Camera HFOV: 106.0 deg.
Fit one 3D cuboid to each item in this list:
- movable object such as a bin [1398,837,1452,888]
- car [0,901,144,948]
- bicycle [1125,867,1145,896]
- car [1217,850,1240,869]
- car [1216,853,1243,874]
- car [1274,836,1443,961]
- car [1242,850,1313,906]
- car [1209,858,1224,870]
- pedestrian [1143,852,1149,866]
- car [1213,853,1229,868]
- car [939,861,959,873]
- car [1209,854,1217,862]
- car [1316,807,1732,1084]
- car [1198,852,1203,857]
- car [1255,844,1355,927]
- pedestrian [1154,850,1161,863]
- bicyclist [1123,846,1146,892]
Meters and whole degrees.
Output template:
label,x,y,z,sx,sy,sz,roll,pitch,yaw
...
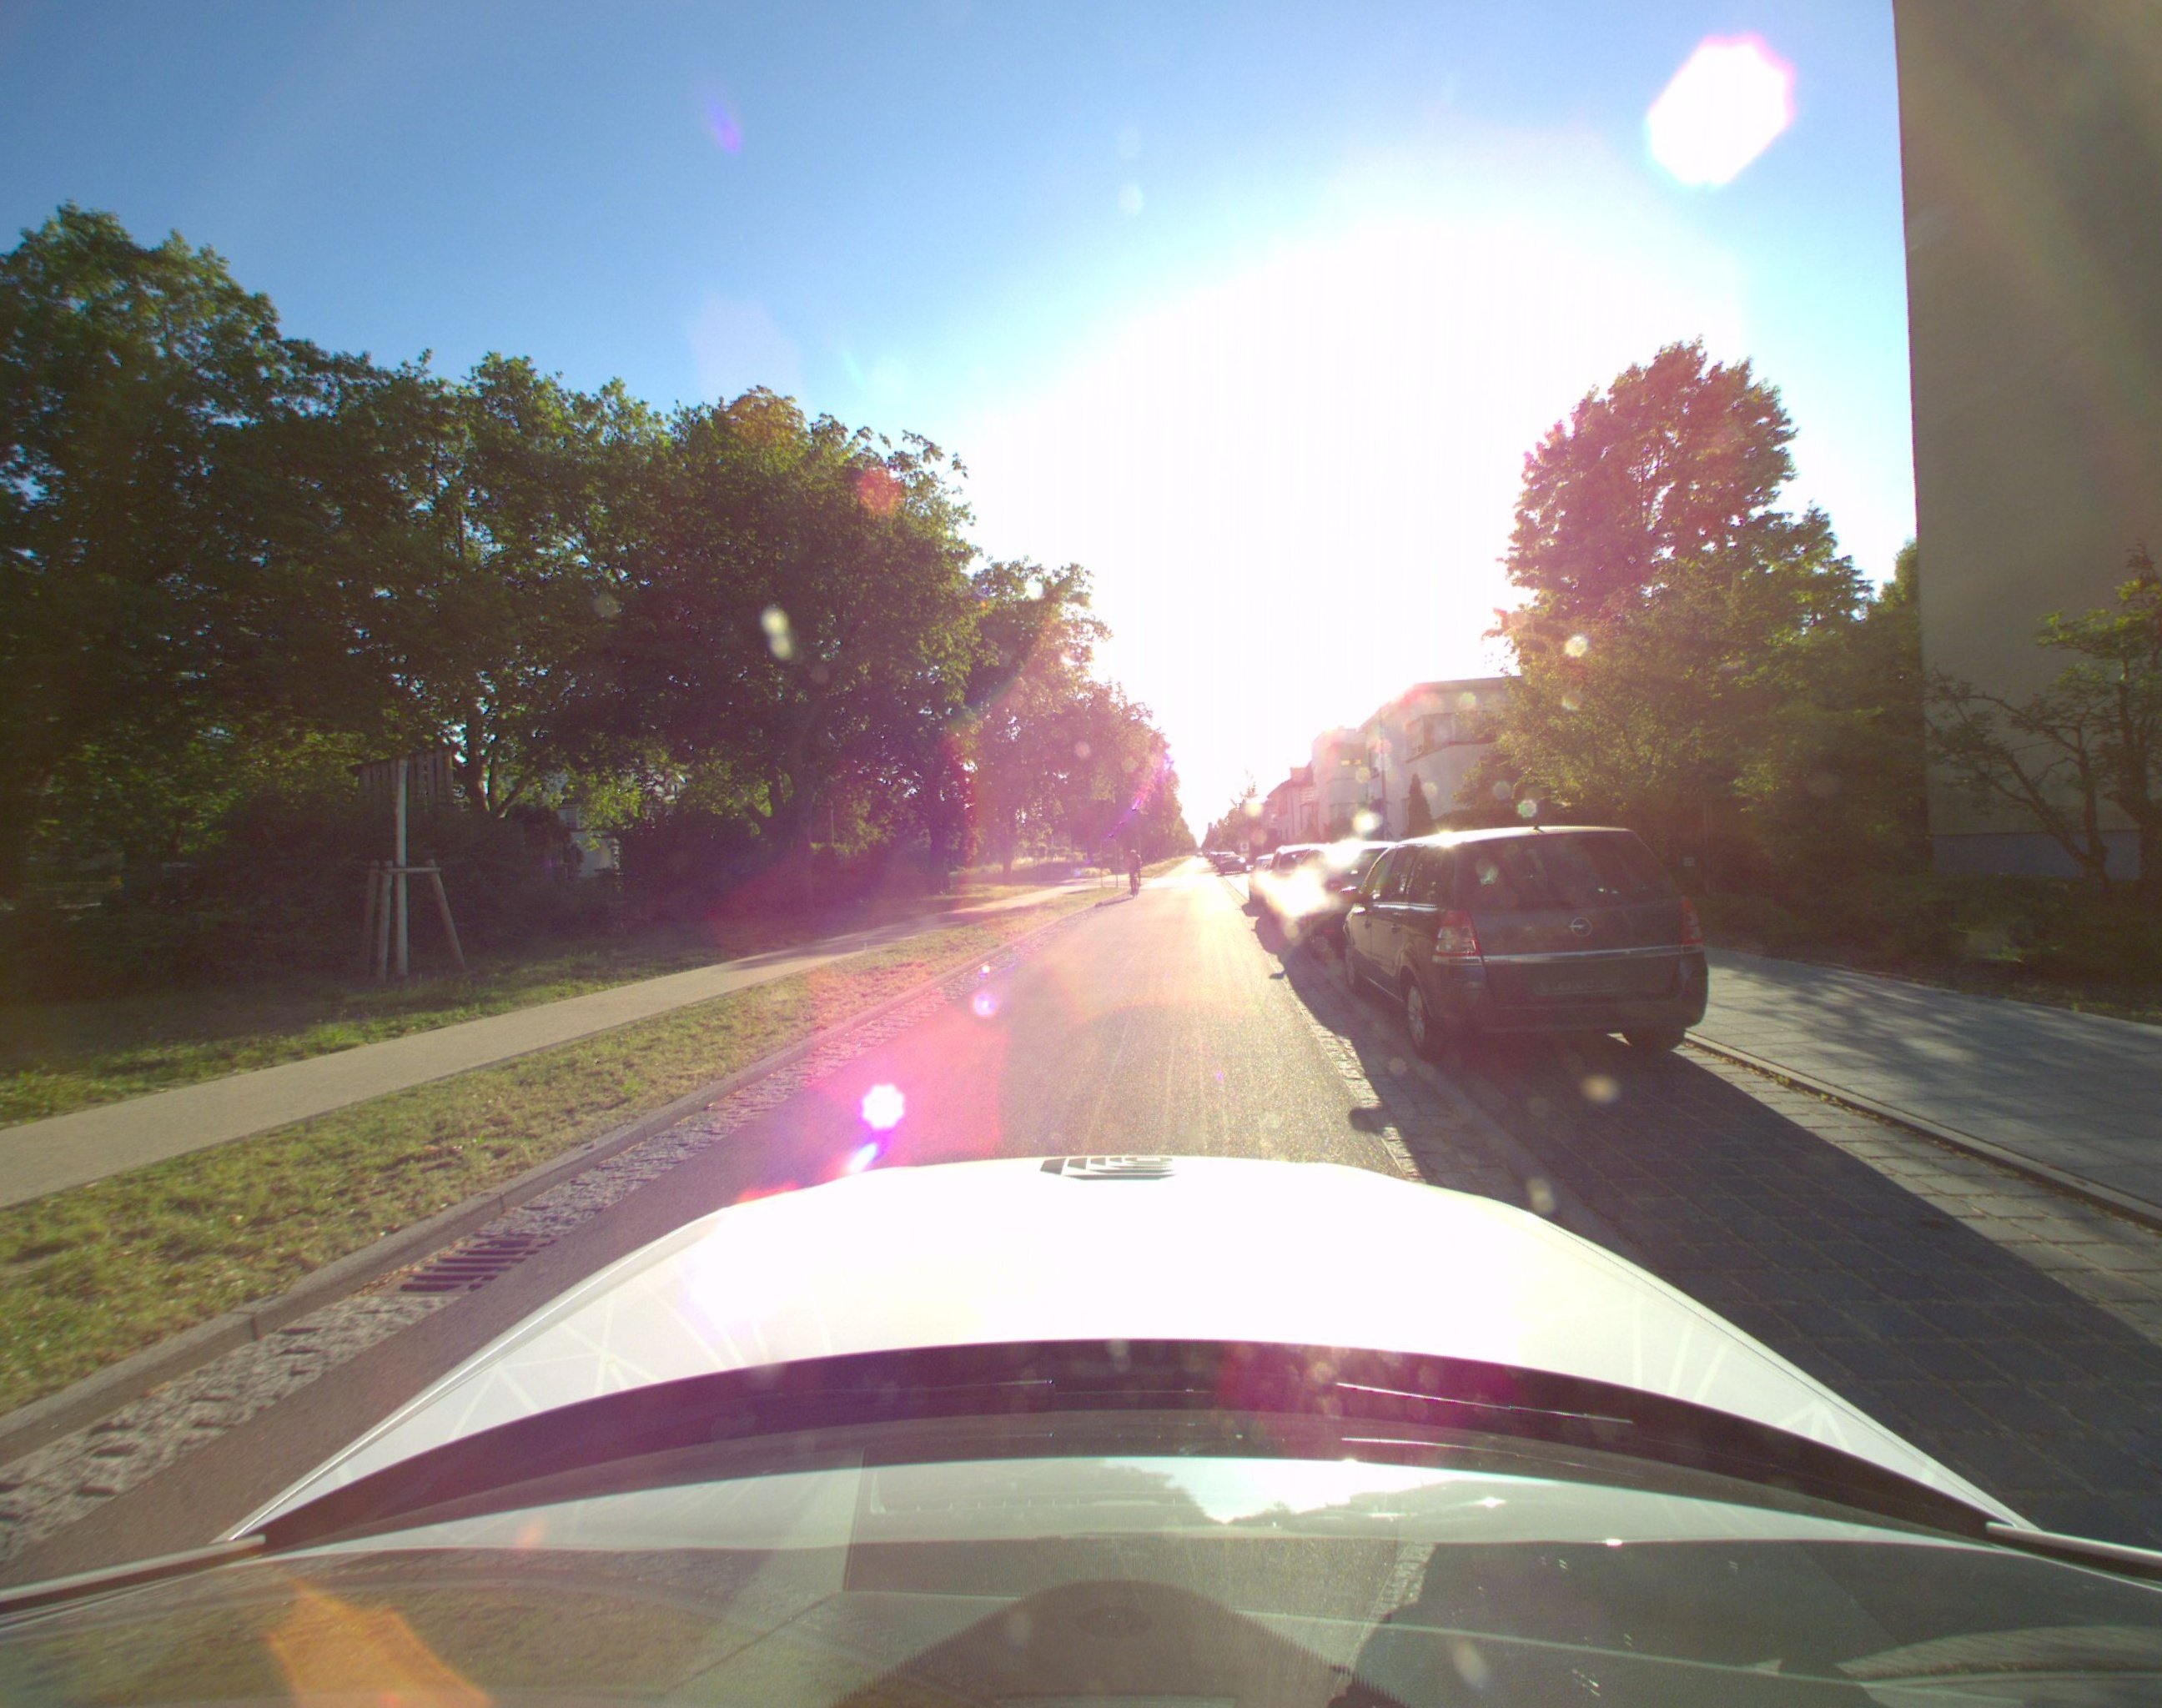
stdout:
label,x,y,z,sx,sy,sz,roll,pitch,yaw
movable object such as a bin,10.196,0.247,24.201,1.229,1.432,1.126,-2,-1,10
car,-37.920,2.583,30.288,1.513,1.367,3.762,-2,0,10
bicycle,2.061,1.047,30.987,0.553,1.032,1.919,-3,-1,8
car,12.919,0.500,71.534,1.735,1.474,3.930,-5,-1,7
car,10.963,0.704,60.400,1.764,1.288,4.283,-5,0,9
car,4.137,0.588,12.802,1.669,1.555,4.153,-4,-1,8
car,5.629,0.642,23.696,1.554,1.390,4.385,-4,-1,9
car,17.927,1.277,107.622,1.727,1.449,4.205,-4,-1,7
pedestrian,8.540,0.615,107.545,0.620,1.831,0.889,-2,0,12
car,15.693,0.752,91.403,1.618,1.504,3.642,-4,0,9
car,-19.871,1.944,122.705,1.683,1.597,4.230,-2,0,8
car,25.850,0.748,159.059,1.489,1.567,3.275,-3,-1,9
car,3.314,0.574,7.113,1.701,1.610,4.177,-4,0,7
car,36.188,0.198,246.759,1.642,1.541,3.274,-1,0,8
car,4.885,0.638,18.249,1.668,1.555,4.141,-4,-1,9
pedestrian,10.080,0.351,107.550,0.778,1.614,0.955,-2,0,12
bicyclist,2.036,0.568,30.943,0.678,1.673,1.175,-3,-1,8
